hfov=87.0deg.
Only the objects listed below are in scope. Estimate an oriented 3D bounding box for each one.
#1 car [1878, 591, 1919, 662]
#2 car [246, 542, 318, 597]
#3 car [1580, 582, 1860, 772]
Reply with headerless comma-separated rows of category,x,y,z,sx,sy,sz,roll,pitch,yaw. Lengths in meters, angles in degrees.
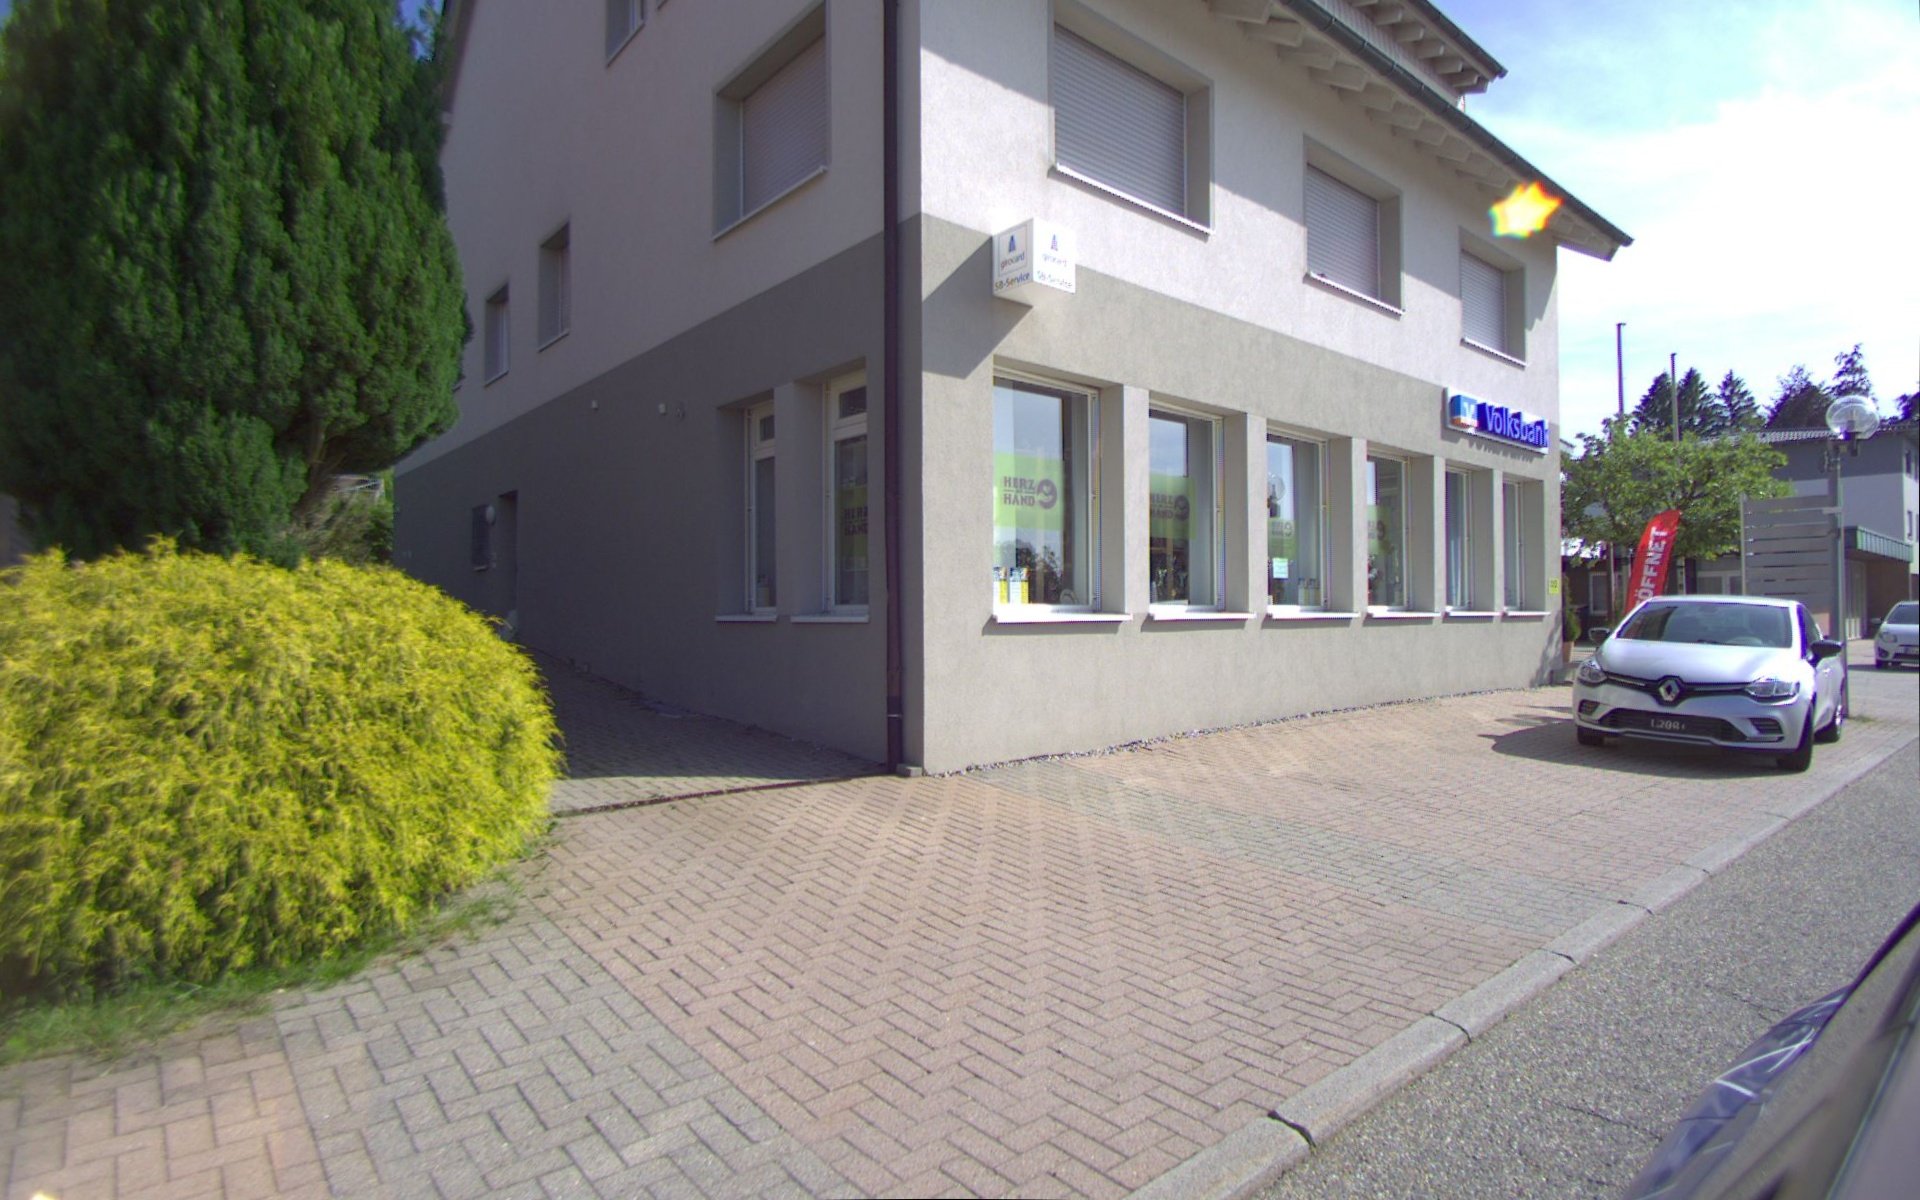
car,21.320,0.572,21.737,3.567,1.441,1.765,0,2,-38
car,-22.238,-0.977,33.135,1.718,1.678,3.861,0,1,-37
car,7.402,0.561,9.705,1.636,1.437,3.872,2,1,45
